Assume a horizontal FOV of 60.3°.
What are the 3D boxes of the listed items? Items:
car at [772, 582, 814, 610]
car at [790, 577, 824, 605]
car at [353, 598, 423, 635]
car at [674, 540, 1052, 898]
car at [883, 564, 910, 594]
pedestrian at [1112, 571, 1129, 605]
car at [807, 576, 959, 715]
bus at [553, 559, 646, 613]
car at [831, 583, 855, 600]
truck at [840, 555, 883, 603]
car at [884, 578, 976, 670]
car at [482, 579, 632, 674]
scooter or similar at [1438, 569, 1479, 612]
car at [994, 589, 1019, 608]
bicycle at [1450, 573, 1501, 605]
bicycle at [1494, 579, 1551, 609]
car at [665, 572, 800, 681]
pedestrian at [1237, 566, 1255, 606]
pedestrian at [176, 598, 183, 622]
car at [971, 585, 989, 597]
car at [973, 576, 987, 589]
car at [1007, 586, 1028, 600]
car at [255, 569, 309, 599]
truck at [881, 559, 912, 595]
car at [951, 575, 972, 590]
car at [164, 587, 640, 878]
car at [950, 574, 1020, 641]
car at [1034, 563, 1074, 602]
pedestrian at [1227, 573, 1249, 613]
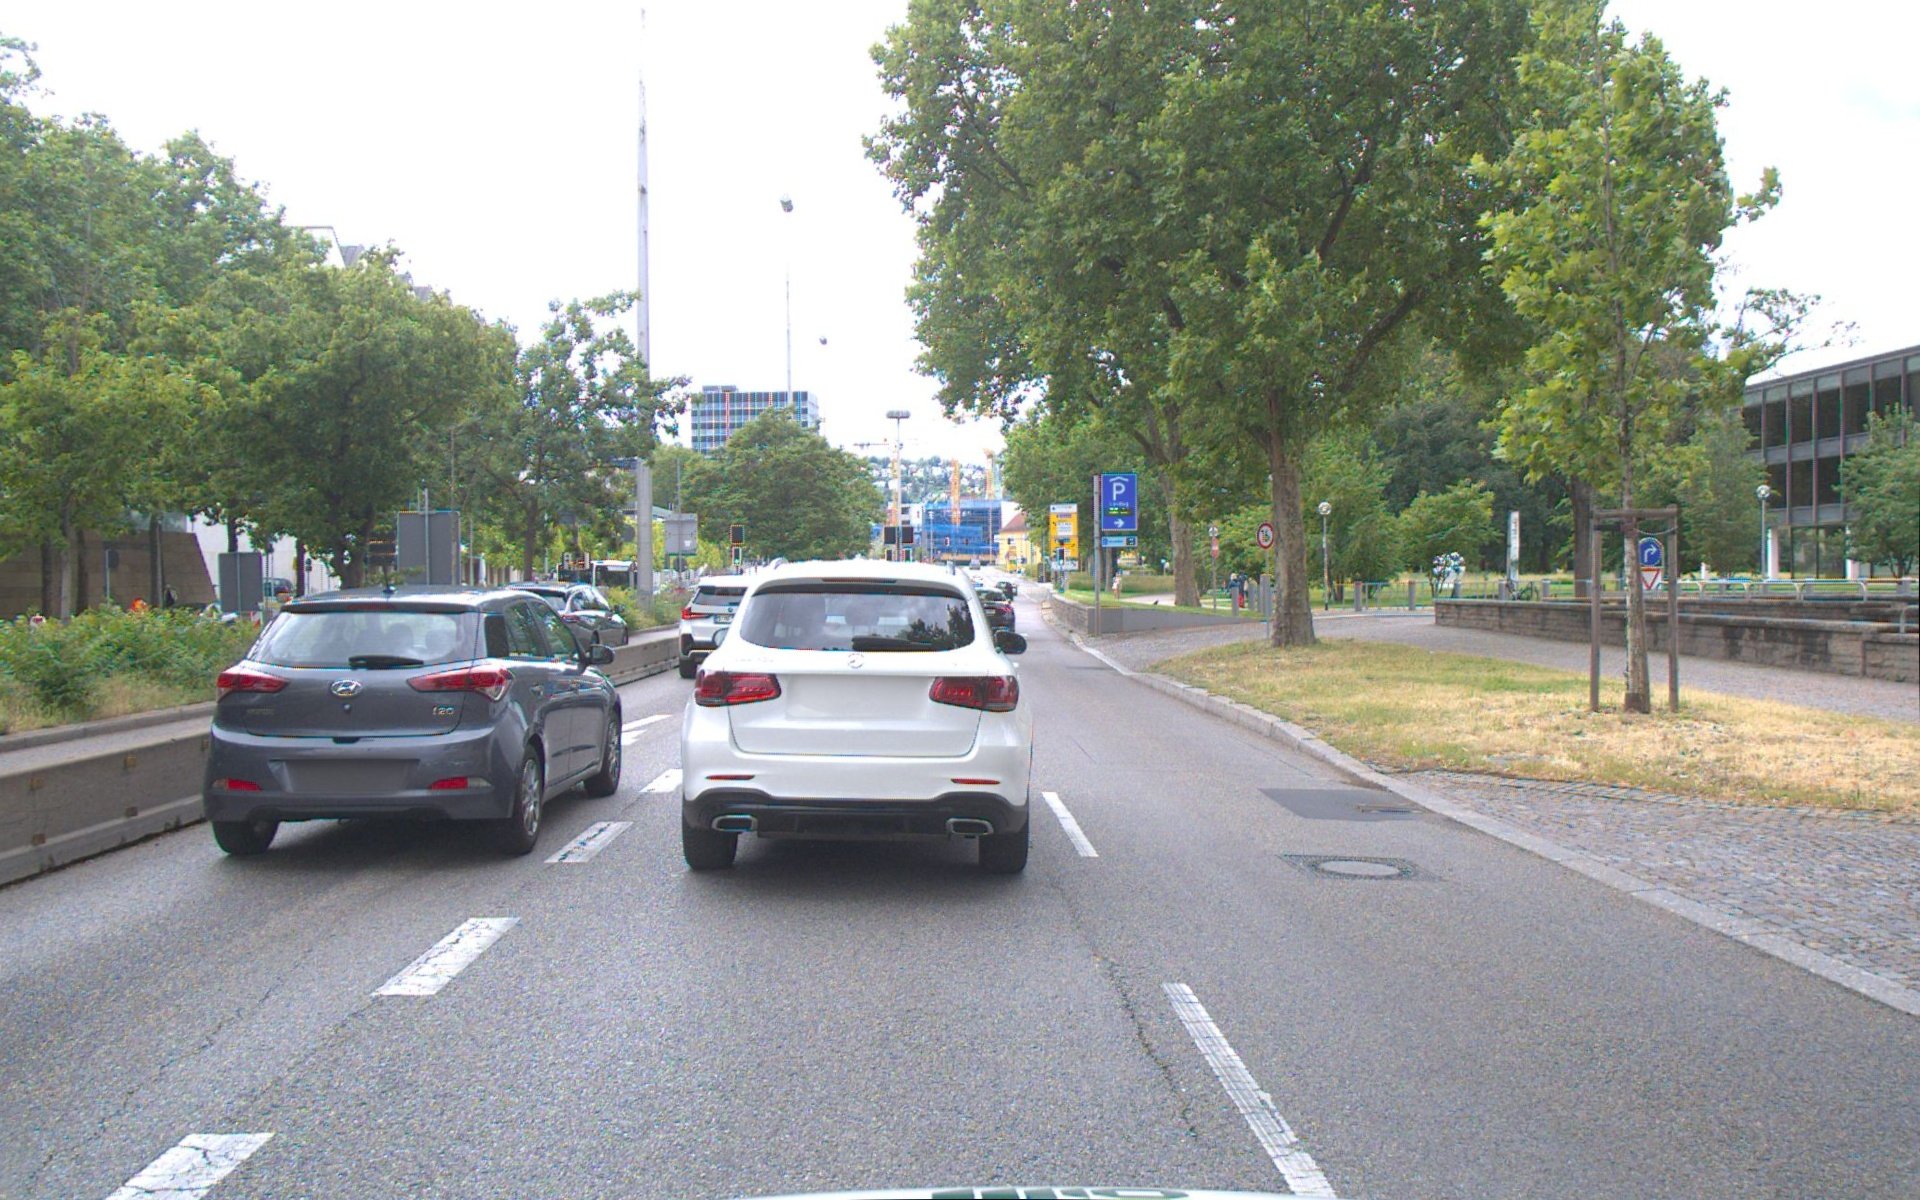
[{"bbox_3d":[-8.340,-0.191,82.824,1.625,1.343,3.548,0,0,2],"label":"car"},{"bbox_3d":[-8.598,-0.528,93.246,1.625,1.539,3.547,0,0,0],"label":"car"},{"bbox_3d":[-23.580,0.662,68.319,1.627,1.407,3.802,0,1,-2],"label":"car"},{"bbox_3d":[-0.457,0.536,9.928,1.751,1.653,4.437,0,0,0],"label":"car"},{"bbox_3d":[-5.436,-1.820,142.347,1.952,2.518,4.002,0,0,3],"label":"car"},{"bbox_3d":[9.494,-0.716,97.931,0.746,2.049,0.696,0,0,35],"label":"pedestrian"},{"bbox_3d":[-1.076,0.536,21.406,1.761,1.636,3.750,0,0,-6],"label":"car"},{"bbox_3d":[-23.458,-0.908,108.534,3.594,3.261,14.266,-1,1,-3],"label":"bus"},{"bbox_3d":[-9.228,-0.667,130.646,1.625,1.343,3.547,0,0,0],"label":"car"},{"bbox_3d":[-6.233,-1.311,105.399,2.568,2.911,7.076,1,0,-2],"label":"truck"},{"bbox_3d":[-0.635,0.428,32.199,1.626,1.668,3.545,0,0,-4],"label":"car"},{"bbox_3d":[-6.682,0.418,27.794,1.628,1.461,3.959,0,0,-2],"label":"car"},{"bbox_3d":[15.366,-0.279,51.055,0.622,1.267,2.225,2,0,1],"label":"scooter or similar"},{"bbox_3d":[3.688,-0.149,131.783,1.907,1.453,4.016,0,0,0],"label":"car"},{"bbox_3d":[17.818,-0.373,57.230,0.934,1.082,2.335,2,0,-2],"label":"bicycle"},{"bbox_3d":[19.570,-0.194,57.586,0.934,0.992,2.786,2,0,-2],"label":"bicycle"},{"bbox_3d":[-3.717,0.406,27.774,1.814,1.656,4.904,0,0,-3],"label":"car"},{"bbox_3d":[12.618,-0.616,72.953,0.743,1.755,0.699,0,0,7],"label":"pedestrian"},{"bbox_3d":[-35.315,0.460,74.859,0.211,1.097,0.258,2,0,-19],"label":"pedestrian"},{"bbox_3d":[2.204,-0.979,184.933,1.907,1.343,4.016,0,0,0],"label":"car"},{"bbox_3d":[2.624,-2.321,218.132,1.723,1.698,4.167,0,1,-1],"label":"car"},{"bbox_3d":[5.591,-0.699,160.334,1.907,1.343,4.016,0,0,0],"label":"car"},{"bbox_3d":[-44.279,-1.034,108.130,1.953,1.948,3.999,0,0,-2],"label":"car"},{"bbox_3d":[-5.703,-2.018,149.025,2.638,3.044,5.635,2,0,-2],"label":"truck"},{"bbox_3d":[0.129,-1.580,149.534,1.907,1.343,4.016,0,0,0],"label":"car"},{"bbox_3d":[-3.200,0.667,10.370,1.762,1.462,4.018,0,0,-3],"label":"car"},{"bbox_3d":[0.669,0.179,46.755,1.788,1.783,3.999,0,1,-2],"label":"car"},{"bbox_3d":[5.061,-0.929,89.489,1.953,2.049,4.000,0,0,0],"label":"car"},{"bbox_3d":[11.582,-0.285,68.897,0.651,1.639,0.637,-1,0,-19],"label":"pedestrian"}]
